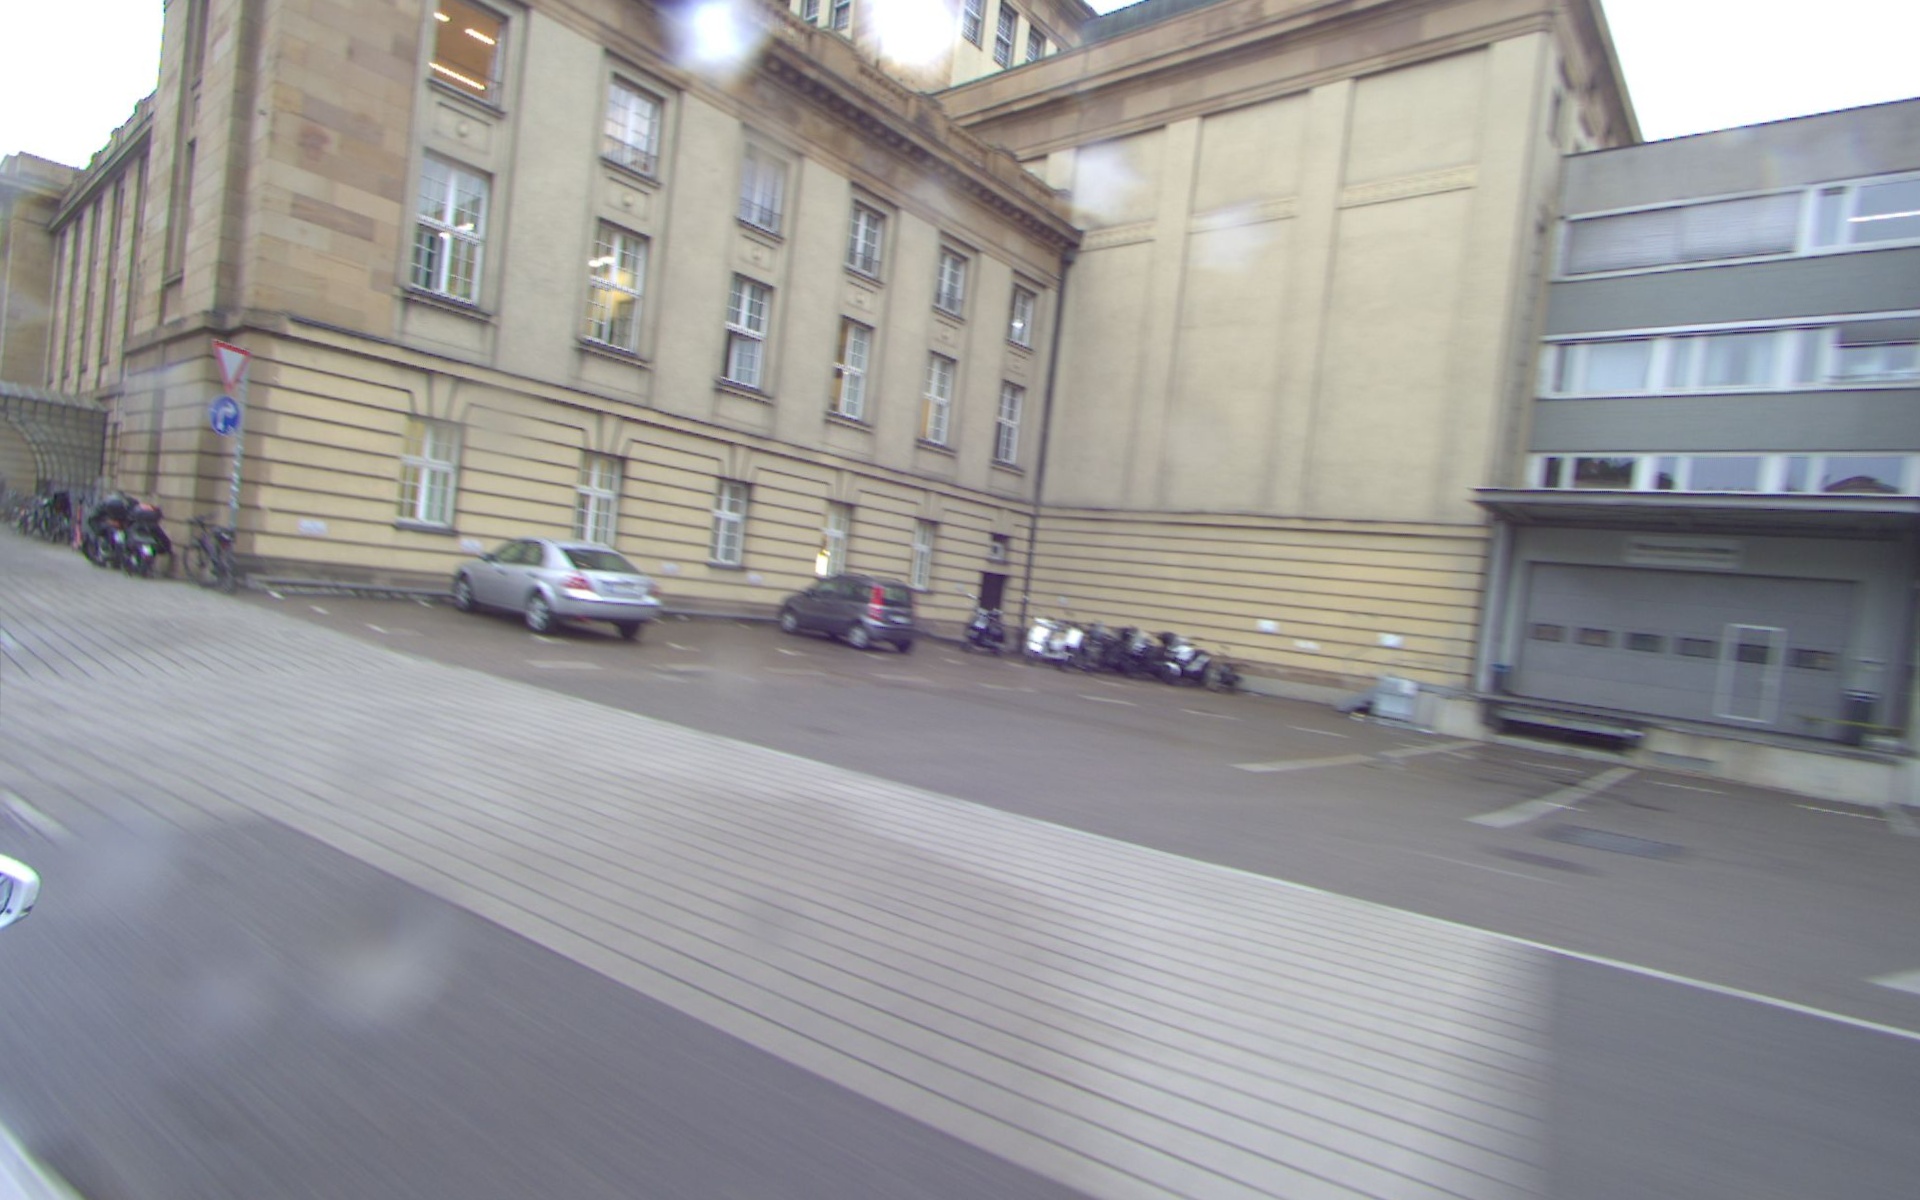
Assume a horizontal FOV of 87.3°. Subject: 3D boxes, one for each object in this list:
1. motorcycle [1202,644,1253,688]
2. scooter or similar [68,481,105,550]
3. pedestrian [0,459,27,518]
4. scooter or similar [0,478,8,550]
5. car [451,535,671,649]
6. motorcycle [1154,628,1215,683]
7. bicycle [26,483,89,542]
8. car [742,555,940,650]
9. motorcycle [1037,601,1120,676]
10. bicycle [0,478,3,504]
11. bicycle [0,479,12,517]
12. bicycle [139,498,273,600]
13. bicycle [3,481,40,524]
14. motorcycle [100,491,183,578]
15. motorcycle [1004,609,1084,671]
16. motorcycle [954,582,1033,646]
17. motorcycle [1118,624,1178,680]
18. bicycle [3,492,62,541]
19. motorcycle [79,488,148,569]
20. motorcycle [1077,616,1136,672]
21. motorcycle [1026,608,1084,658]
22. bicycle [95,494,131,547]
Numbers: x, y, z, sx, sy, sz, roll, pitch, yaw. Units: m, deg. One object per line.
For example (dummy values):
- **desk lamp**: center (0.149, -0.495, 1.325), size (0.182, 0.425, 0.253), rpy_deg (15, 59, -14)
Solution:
- **motorcycle**: center (7.137, 1.766, 26.780), size (0.474, 1.083, 1.656), rpy_deg (8, 2, 43)
- **scooter or similar**: center (-19.337, -1.883, 22.260), size (1.251, 1.435, 0.412), rpy_deg (7, 1, 44)
- **pedestrian**: center (-30.418, -3.576, 32.132), size (0.633, 1.802, 0.793), rpy_deg (8, 4, 40)
- **scooter or similar**: center (-17.995, -1.631, 18.222), size (1.234, 1.309, 0.435), rpy_deg (7, 1, 16)
- **car**: center (-6.679, -0.165, 16.649), size (4.067, 1.428, 1.519), rpy_deg (7, 1, 39)
- **motorcycle**: center (6.059, 1.504, 27.094), size (0.725, 1.385, 1.656), rpy_deg (8, 2, 44)
- **bicycle**: center (-22.172, -2.148, 24.701), size (1.731, 1.285, 0.730), rpy_deg (7, 2, 35)
- **car**: center (-2.765, 0.021, 22.710), size (4.443, 1.560, 1.815), rpy_deg (8, 2, 41)
- **motorcycle**: center (2.856, 0.938, 24.116), size (0.838, 1.564, 1.969), rpy_deg (10, 1, 41)
- **bicycle**: center (-37.577, -4.009, 38.897), size (1.575, 1.534, 0.453), rpy_deg (8, 0, 37)
- **bicycle**: center (-32.596, -3.475, 34.027), size (1.666, 1.230, 0.463), rpy_deg (7, 1, 38)
- **bicycle**: center (-11.722, -0.795, 15.635), size (1.830, 1.333, 1.102), rpy_deg (7, 1, 36)
- **bicycle**: center (-25.888, -2.699, 27.733), size (1.735, 1.051, 0.582), rpy_deg (7, 1, 44)
- **motorcycle**: center (-13.920, -1.123, 17.095), size (1.775, 1.315, 0.805), rpy_deg (7, 1, 44)
- **motorcycle**: center (2.090, 1.002, 24.822), size (0.838, 1.210, 1.971), rpy_deg (8, -2, 41)
- **motorcycle**: center (0.874, 0.383, 26.081), size (0.874, 1.492, 1.967), rpy_deg (8, 2, 41)
- **motorcycle**: center (5.243, 1.466, 28.068), size (0.725, 1.425, 1.656), rpy_deg (8, 2, 44)
- **bicycle**: center (-23.743, -2.141, 25.743), size (1.713, 1.064, 0.712), rpy_deg (7, 1, 35)
- **motorcycle**: center (-15.587, -1.333, 18.500), size (2.106, 1.342, 0.665), rpy_deg (7, 1, 44)
- **motorcycle**: center (4.221, 1.281, 28.909), size (0.725, 1.493, 1.656), rpy_deg (8, 2, 44)
- **motorcycle**: center (2.840, 0.988, 29.855), size (0.725, 1.356, 1.656), rpy_deg (8, 2, 44)
- **bicycle**: center (-18.491, -1.739, 21.971), size (0.416, 1.063, 1.753), rpy_deg (6, 1, -37)
